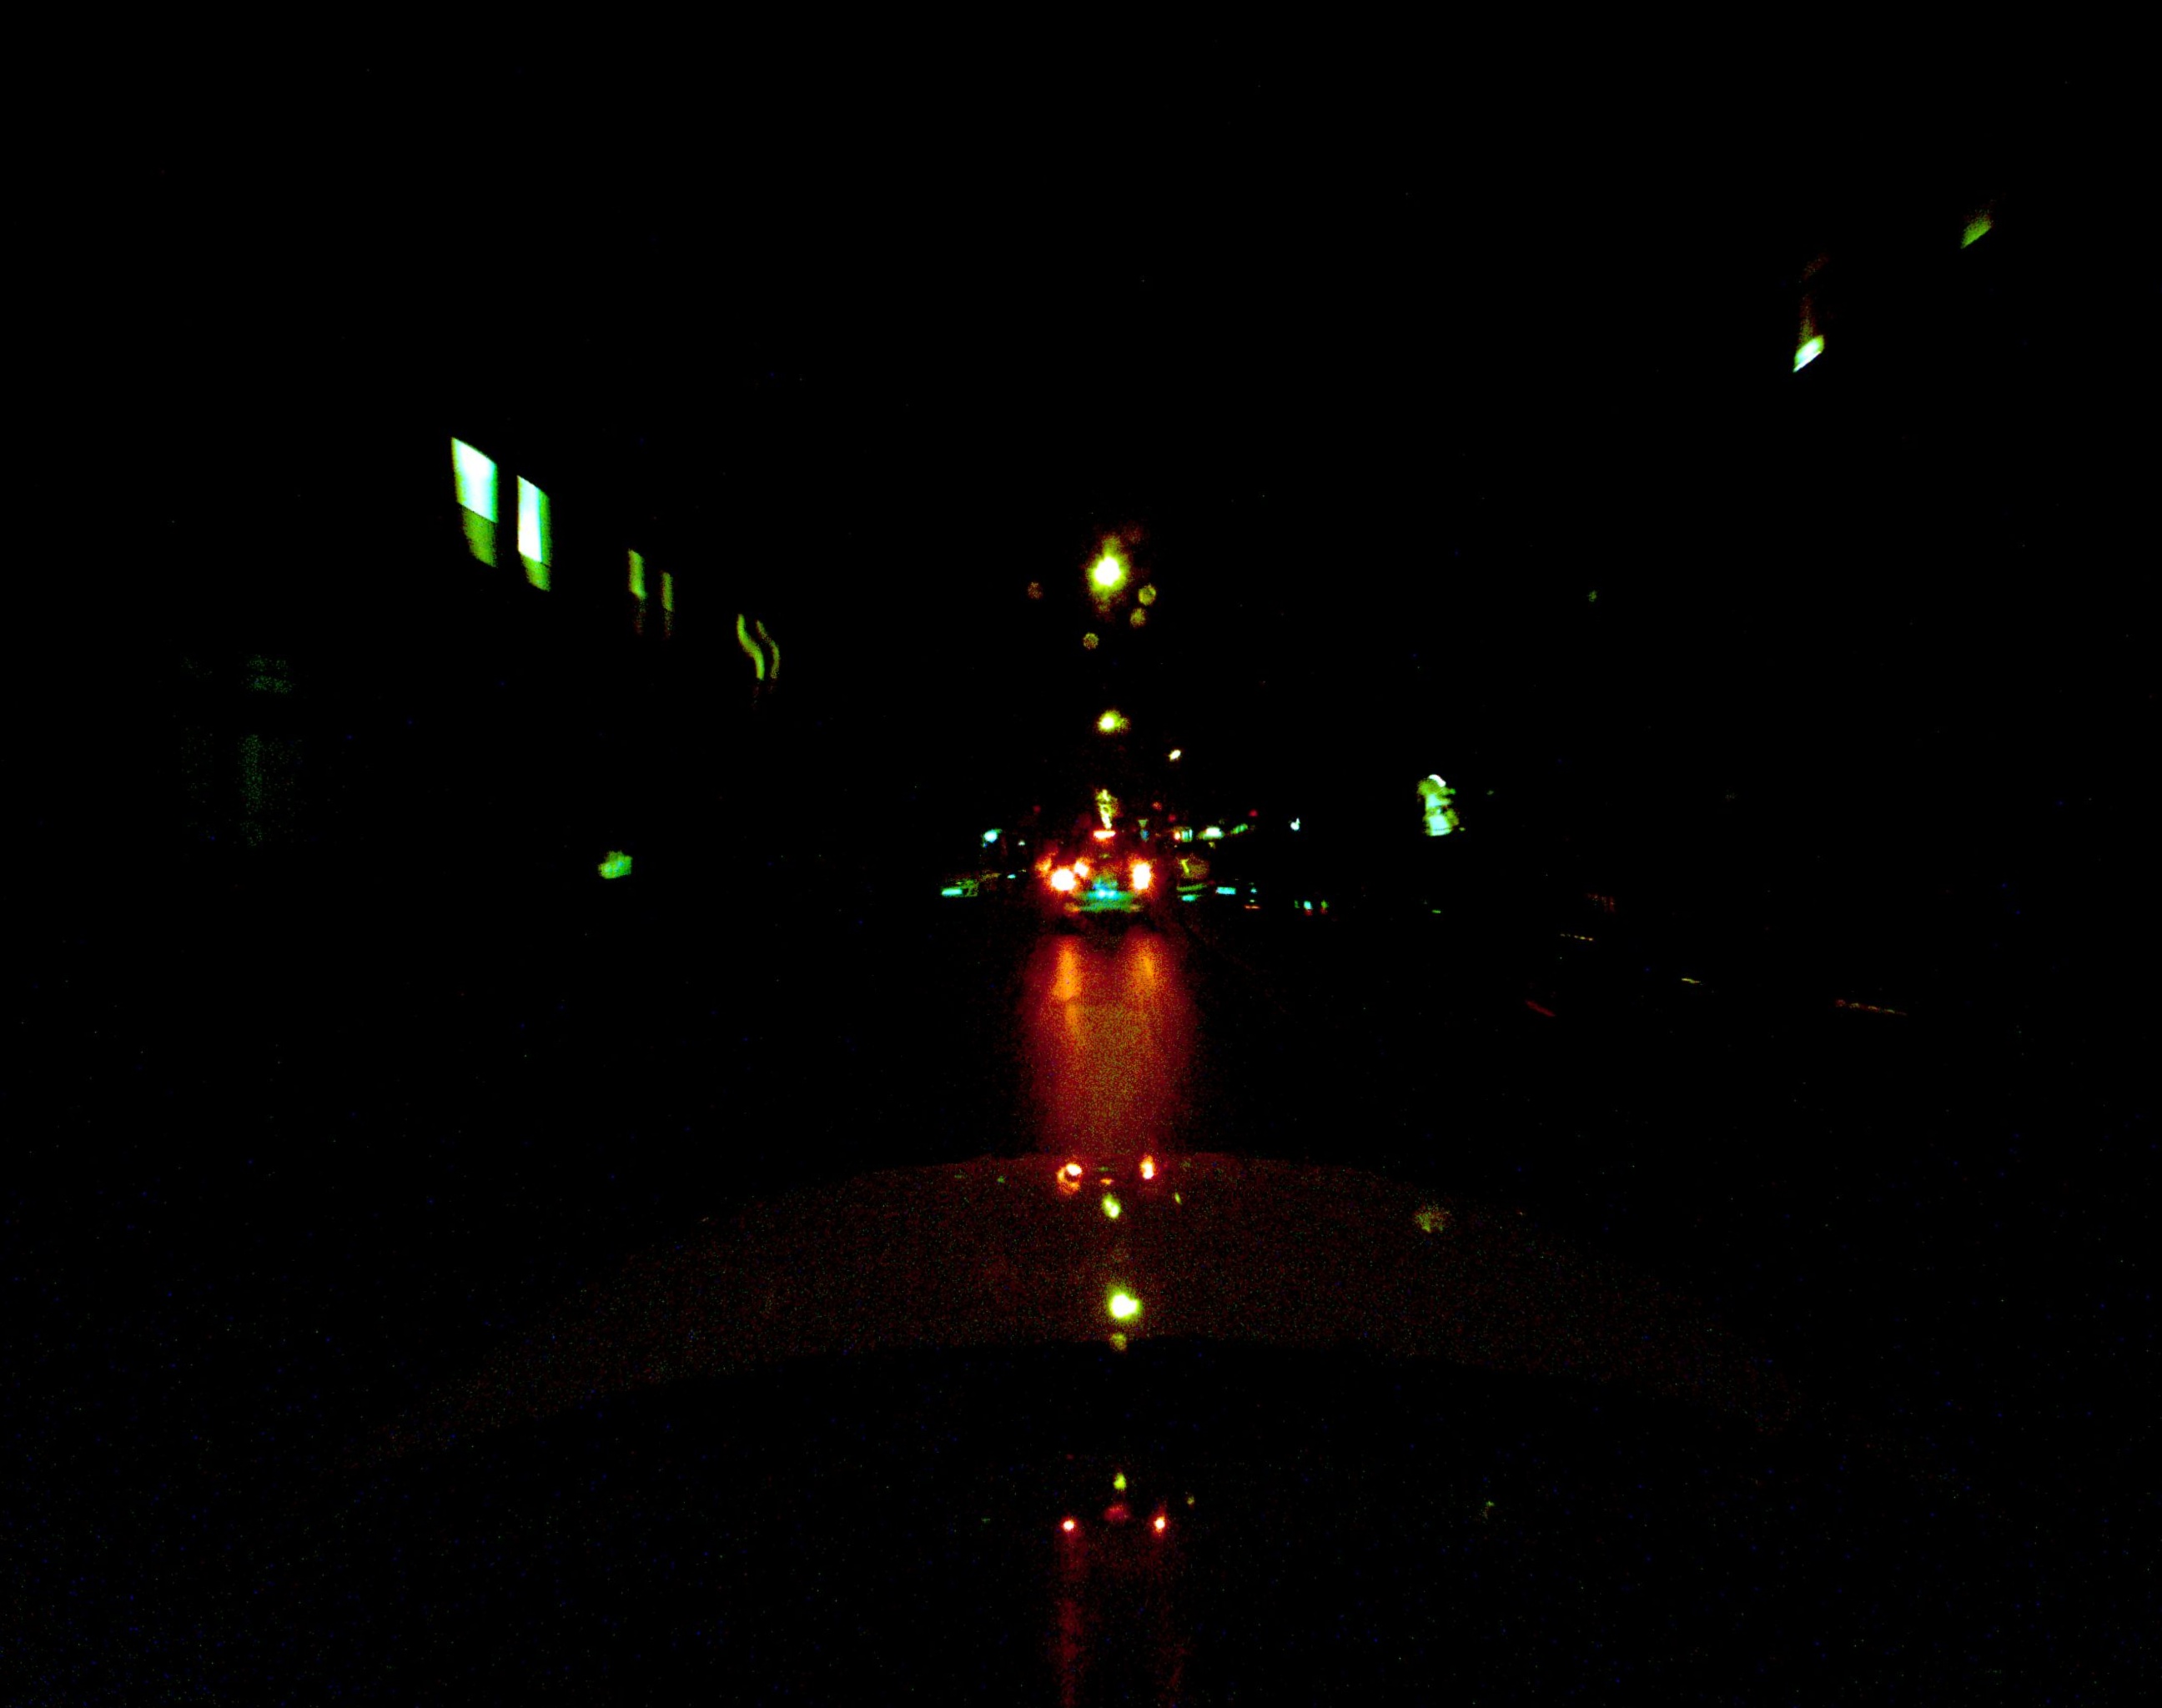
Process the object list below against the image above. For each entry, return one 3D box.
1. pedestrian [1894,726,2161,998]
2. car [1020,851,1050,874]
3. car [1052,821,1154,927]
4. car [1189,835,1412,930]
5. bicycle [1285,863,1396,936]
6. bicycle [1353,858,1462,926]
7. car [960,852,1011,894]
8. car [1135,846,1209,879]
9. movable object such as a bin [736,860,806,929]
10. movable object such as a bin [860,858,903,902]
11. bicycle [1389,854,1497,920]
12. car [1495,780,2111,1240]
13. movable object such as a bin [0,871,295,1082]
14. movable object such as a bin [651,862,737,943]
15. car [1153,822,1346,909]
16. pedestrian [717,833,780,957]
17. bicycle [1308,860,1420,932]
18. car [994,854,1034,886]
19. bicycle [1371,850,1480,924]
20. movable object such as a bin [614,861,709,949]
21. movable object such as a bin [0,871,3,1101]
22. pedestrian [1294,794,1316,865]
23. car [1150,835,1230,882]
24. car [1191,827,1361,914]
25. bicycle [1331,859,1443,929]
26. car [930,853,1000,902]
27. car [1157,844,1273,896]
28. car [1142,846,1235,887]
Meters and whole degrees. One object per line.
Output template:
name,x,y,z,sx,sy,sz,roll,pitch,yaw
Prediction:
pedestrian,7.193,0.053,6.221,0.866,1.856,0.993,-4,0,-1
car,-3.409,0.617,61.638,1.876,1.685,4.002,-1,0,2
car,0.509,0.424,18.120,1.986,2.050,4.002,-1,-1,2
car,4.308,0.507,15.945,4.008,1.492,1.720,-4,0,-26
bicycle,4.157,0.707,13.194,0.521,1.076,1.810,-3,0,-29
bicycle,5.565,0.631,13.995,0.448,1.076,1.810,-3,0,-29
car,-3.725,0.709,32.358,1.651,1.557,4.074,-1,0,-2
car,4.702,0.425,41.999,3.580,1.591,1.588,-1,-2,-35
movable object such as a bin,-6.503,0.825,17.130,0.970,1.398,1.134,0,0,4
movable object such as a bin,-6.439,0.829,26.369,1.043,1.398,1.159,0,0,4
bicycle,6.383,0.566,14.457,0.448,1.076,1.810,-3,0,-29
car,4.137,0.489,4.522,3.668,1.580,1.576,-4,-1,-33
movable object such as a bin,-7.232,0.855,6.259,1.136,1.420,1.250,0,0,4
movable object such as a bin,-7.091,0.858,14.992,0.970,1.420,1.134,0,0,4
car,4.511,0.231,21.613,4.813,2.049,2.047,-2,0,-29
pedestrian,-5.074,0.605,12.470,0.589,1.820,0.795,1,0,2
bicycle,4.641,0.671,13.477,0.521,1.076,1.810,-3,0,-29
car,-3.424,0.796,42.178,1.808,1.557,4.074,-1,0,-2
bicycle,5.973,0.557,14.237,0.448,1.191,1.810,-3,0,-29
movable object such as a bin,-7.051,0.828,13.750,0.970,1.420,1.134,0,0,4
movable object such as a bin,-7.270,0.813,4.483,1.136,1.420,1.155,0,0,4
pedestrian,11.234,-1.236,40.850,0.888,3.528,0.791,-1,0,2
car,5.213,0.213,38.861,3.581,1.990,1.588,-4,0,-35
car,4.557,0.353,18.962,3.574,1.711,1.631,-4,0,-27
bicycle,5.123,0.655,13.752,0.521,1.076,1.810,-3,0,-29
car,-3.747,0.732,26.875,1.580,1.482,3.796,-1,0,3
car,4.513,0.518,27.363,3.580,1.484,1.708,-4,0,-34
car,4.474,0.509,33.741,3.580,1.453,1.655,-4,0,-34
